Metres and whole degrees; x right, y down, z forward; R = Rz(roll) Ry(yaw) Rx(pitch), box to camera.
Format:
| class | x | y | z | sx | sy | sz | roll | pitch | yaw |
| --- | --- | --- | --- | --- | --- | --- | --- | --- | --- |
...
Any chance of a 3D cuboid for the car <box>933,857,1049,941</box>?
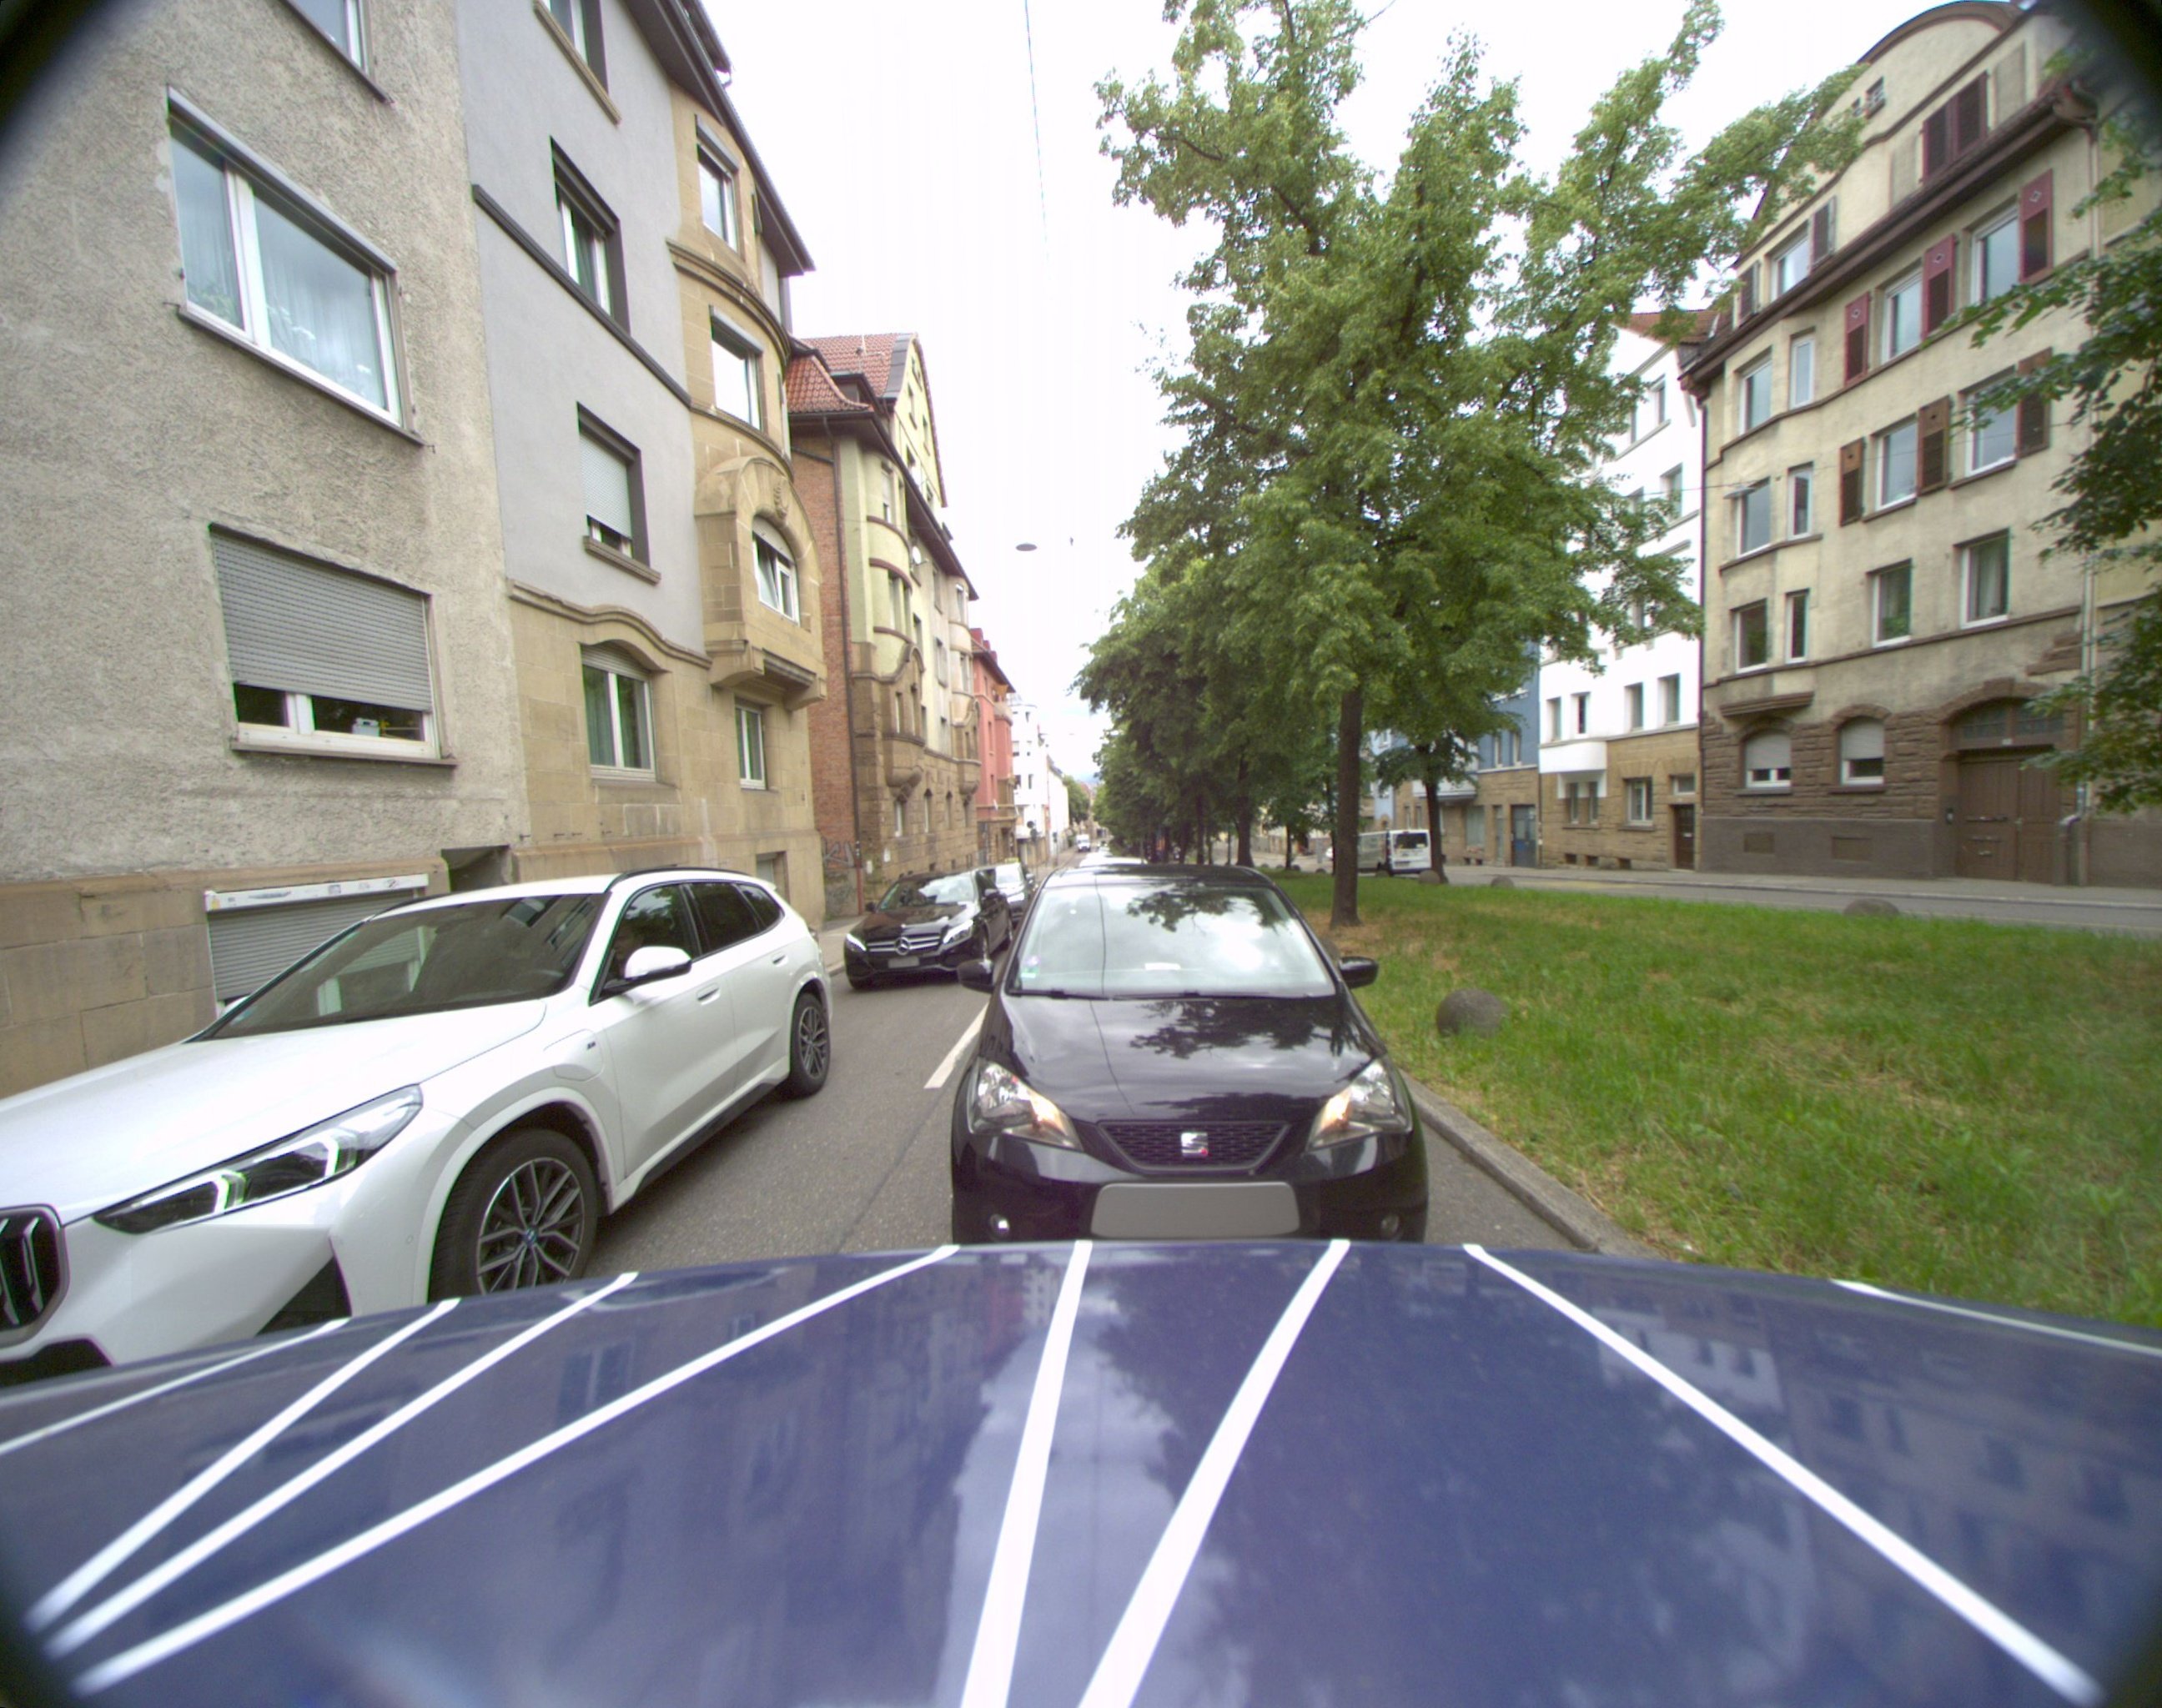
| class | x | y | z | sx | sy | sz | roll | pitch | yaw |
| --- | --- | --- | --- | --- | --- | --- | --- | --- | --- |
| car | -1.972 | 0.947 | 18.000 | 1.936 | 1.506 | 4.303 | -6 | 1 | 2 |

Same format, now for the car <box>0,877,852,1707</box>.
| class | x | y | z | sx | sy | sz | roll | pitch | yaw |
| --- | --- | --- | --- | --- | --- | --- | --- | --- | --- |
| car | -2.785 | 1.078 | 3.690 | 1.859 | 1.547 | 4.350 | -6 | 1 | 0 |

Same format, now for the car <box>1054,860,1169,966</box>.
| class | x | y | z | sx | sy | sz | roll | pitch | yaw |
| --- | --- | --- | --- | --- | --- | --- | --- | --- | --- |
| car | 0.477 | 0.891 | 13.082 | 1.664 | 1.456 | 3.581 | -2 | 1 | 1 |

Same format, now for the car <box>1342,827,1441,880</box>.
| class | x | y | z | sx | sy | sz | roll | pitch | yaw |
| --- | --- | --- | --- | --- | --- | --- | --- | --- | --- |
| car | 12.763 | -0.024 | 31.655 | 1.998 | 1.933 | 5.307 | -3 | 0 | 2 |

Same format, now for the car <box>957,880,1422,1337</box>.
| class | x | y | z | sx | sy | sz | roll | pitch | yaw |
| --- | --- | --- | --- | --- | --- | --- | --- | --- | --- |
| car | 0.400 | 0.950 | 4.300 | 1.611 | 1.457 | 3.296 | 0 | 1 | 1 |

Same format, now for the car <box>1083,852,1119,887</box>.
| class | x | y | z | sx | sy | sz | roll | pitch | yaw |
| --- | --- | --- | --- | --- | --- | --- | --- | --- | --- |
| car | 0.934 | 0.713 | 36.468 | 1.607 | 1.492 | 3.737 | -2 | 1 | 1 |

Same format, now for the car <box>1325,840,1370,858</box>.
| class | x | y | z | sx | sy | sz | roll | pitch | yaw |
| --- | --- | --- | --- | --- | --- | --- | --- | --- | --- |
| car | 22.133 | -0.416 | 63.119 | 3.291 | 1.323 | 1.672 | -2 | 1 | 10 |

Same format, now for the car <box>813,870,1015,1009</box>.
| class | x | y | z | sx | sy | sz | roll | pitch | yaw |
| --- | --- | --- | --- | --- | --- | --- | --- | --- | --- |
| car | -2.193 | 1.075 | 11.258 | 1.884 | 1.369 | 4.205 | -6 | 1 | 1 |

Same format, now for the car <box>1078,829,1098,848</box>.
| class | x | y | z | sx | sy | sz | roll | pitch | yaw |
| --- | --- | --- | --- | --- | --- | --- | --- | --- | --- |
| car | 1.211 | -2.554 | 125.443 | 2.715 | 2.879 | 6.454 | -2 | 1 | 4 |
